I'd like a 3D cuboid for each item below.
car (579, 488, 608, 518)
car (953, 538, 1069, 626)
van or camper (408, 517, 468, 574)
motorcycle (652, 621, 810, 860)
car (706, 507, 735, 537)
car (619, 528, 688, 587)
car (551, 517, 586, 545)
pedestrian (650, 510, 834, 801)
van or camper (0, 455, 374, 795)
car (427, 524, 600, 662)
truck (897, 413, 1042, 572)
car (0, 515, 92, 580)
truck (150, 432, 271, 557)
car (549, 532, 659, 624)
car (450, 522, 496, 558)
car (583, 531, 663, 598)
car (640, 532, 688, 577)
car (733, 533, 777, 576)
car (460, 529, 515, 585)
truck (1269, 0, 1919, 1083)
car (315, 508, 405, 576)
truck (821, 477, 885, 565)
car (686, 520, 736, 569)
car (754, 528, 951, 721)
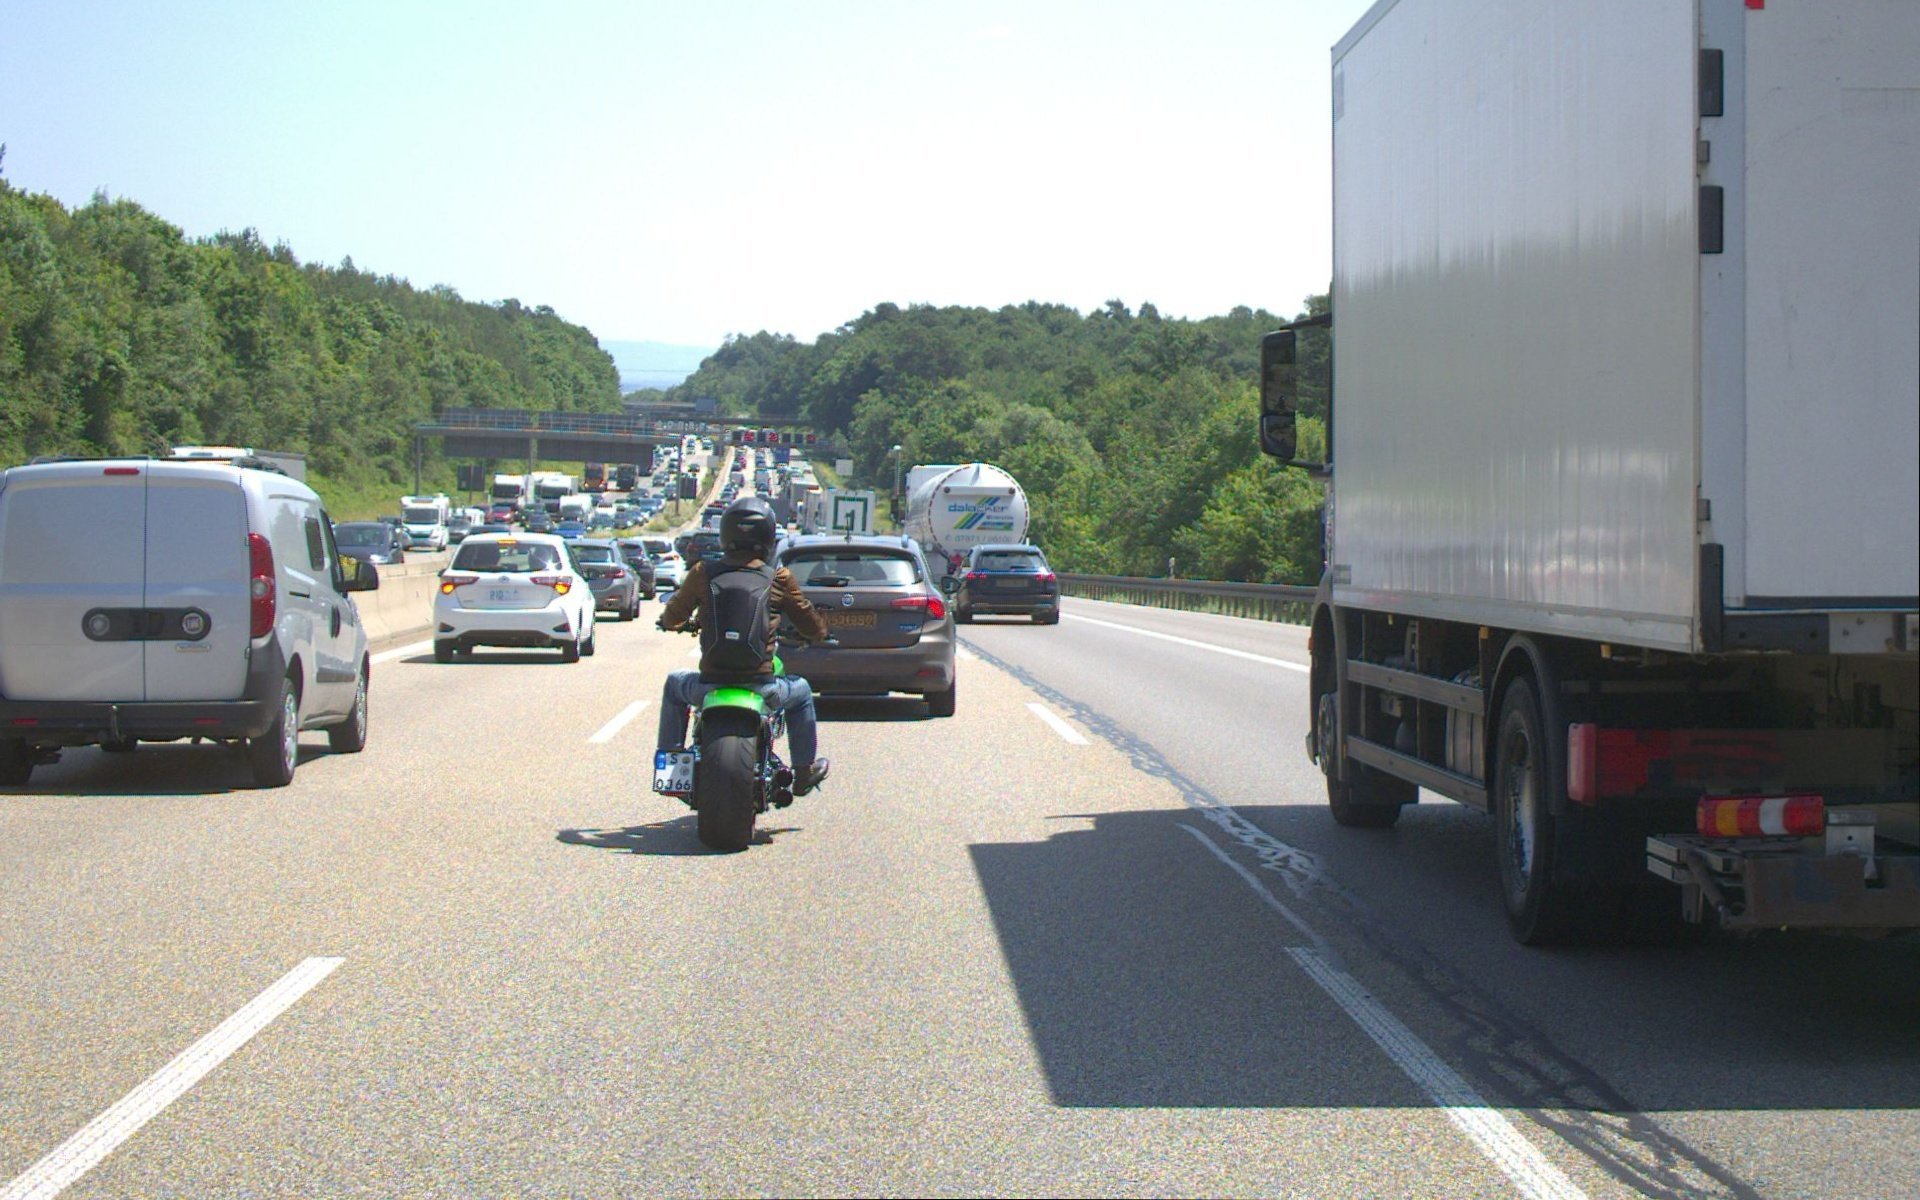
[{"bbox_3d":[-24.665,-6.488,231.432,1.891,1.941,4.001,0,1,-5],"label":"car"},{"bbox_3d":[0.920,-0.367,64.283,1.828,1.465,4.001,3,1,-3],"label":"car"},{"bbox_3d":[-25.674,-2.679,169.317,2.269,2.726,6.807,0,1,-3],"label":"van or camper"},{"bbox_3d":[-1.081,0.642,16.586,0.691,1.012,2.122,0,1,-2],"label":"motorcycle"},{"bbox_3d":[-16.429,-5.376,236.049,1.929,2.007,4.000,0,1,-3],"label":"car"},{"bbox_3d":[-8.299,-1.178,93.329,1.699,1.473,4.001,2,1,-3],"label":"car"},{"bbox_3d":[-21.469,-3.799,188.647,1.710,1.532,4.129,1,1,-4],"label":"car"},{"bbox_3d":[-1.035,0.249,16.546,0.849,1.357,0.962,0,1,-2],"label":"pedestrian"},{"bbox_3d":[-4.783,0.119,21.227,1.796,1.886,4.160,0,1,-3],"label":"van or camper"},{"bbox_3d":[-5.268,-0.122,40.934,1.699,1.473,4.001,2,1,-3],"label":"car"},{"bbox_3d":[0.136,-2.539,84.326,2.987,3.659,9.289,0,1,-3],"label":"truck"},{"bbox_3d":[-27.238,-1.544,102.037,1.921,1.861,5.304,0,1,-4],"label":"car"},{"bbox_3d":[-24.218,-3.357,111.390,2.812,3.895,7.316,0,1,-4],"label":"truck"},{"bbox_3d":[-6.288,-0.410,60.966,1.699,1.473,4.001,2,1,-3],"label":"car"},{"bbox_3d":[-28.302,-3.497,199.881,2.227,2.007,5.813,0,1,-4],"label":"car"},{"bbox_3d":[-8.043,-0.869,82.310,1.699,1.473,4.001,2,1,-3],"label":"car"},{"bbox_3d":[-13.560,-2.076,157.588,1.993,2.007,4.000,0,1,-3],"label":"car"},{"bbox_3d":[-7.068,-1.581,118.589,1.393,1.458,2.779,0,1,-1],"label":"car"},{"bbox_3d":[-17.426,-1.599,126.883,1.763,2.007,4.001,0,1,-4],"label":"car"},{"bbox_3d":[3.170,-0.703,14.366,2.688,3.863,9.781,0,1,-1],"label":"truck"},{"bbox_3d":[-15.537,-1.515,89.158,1.683,1.692,4.659,0,1,-2],"label":"car"},{"bbox_3d":[-5.951,-4.382,189.961,3.033,4.526,9.984,3,1,-3],"label":"truck"},{"bbox_3d":[-10.234,-2.297,141.436,1.880,1.853,4.001,3,1,-3],"label":"car"},{"bbox_3d":[-0.901,0.152,29.002,1.532,1.504,4.001,0,1,-2],"label":"car"}]
